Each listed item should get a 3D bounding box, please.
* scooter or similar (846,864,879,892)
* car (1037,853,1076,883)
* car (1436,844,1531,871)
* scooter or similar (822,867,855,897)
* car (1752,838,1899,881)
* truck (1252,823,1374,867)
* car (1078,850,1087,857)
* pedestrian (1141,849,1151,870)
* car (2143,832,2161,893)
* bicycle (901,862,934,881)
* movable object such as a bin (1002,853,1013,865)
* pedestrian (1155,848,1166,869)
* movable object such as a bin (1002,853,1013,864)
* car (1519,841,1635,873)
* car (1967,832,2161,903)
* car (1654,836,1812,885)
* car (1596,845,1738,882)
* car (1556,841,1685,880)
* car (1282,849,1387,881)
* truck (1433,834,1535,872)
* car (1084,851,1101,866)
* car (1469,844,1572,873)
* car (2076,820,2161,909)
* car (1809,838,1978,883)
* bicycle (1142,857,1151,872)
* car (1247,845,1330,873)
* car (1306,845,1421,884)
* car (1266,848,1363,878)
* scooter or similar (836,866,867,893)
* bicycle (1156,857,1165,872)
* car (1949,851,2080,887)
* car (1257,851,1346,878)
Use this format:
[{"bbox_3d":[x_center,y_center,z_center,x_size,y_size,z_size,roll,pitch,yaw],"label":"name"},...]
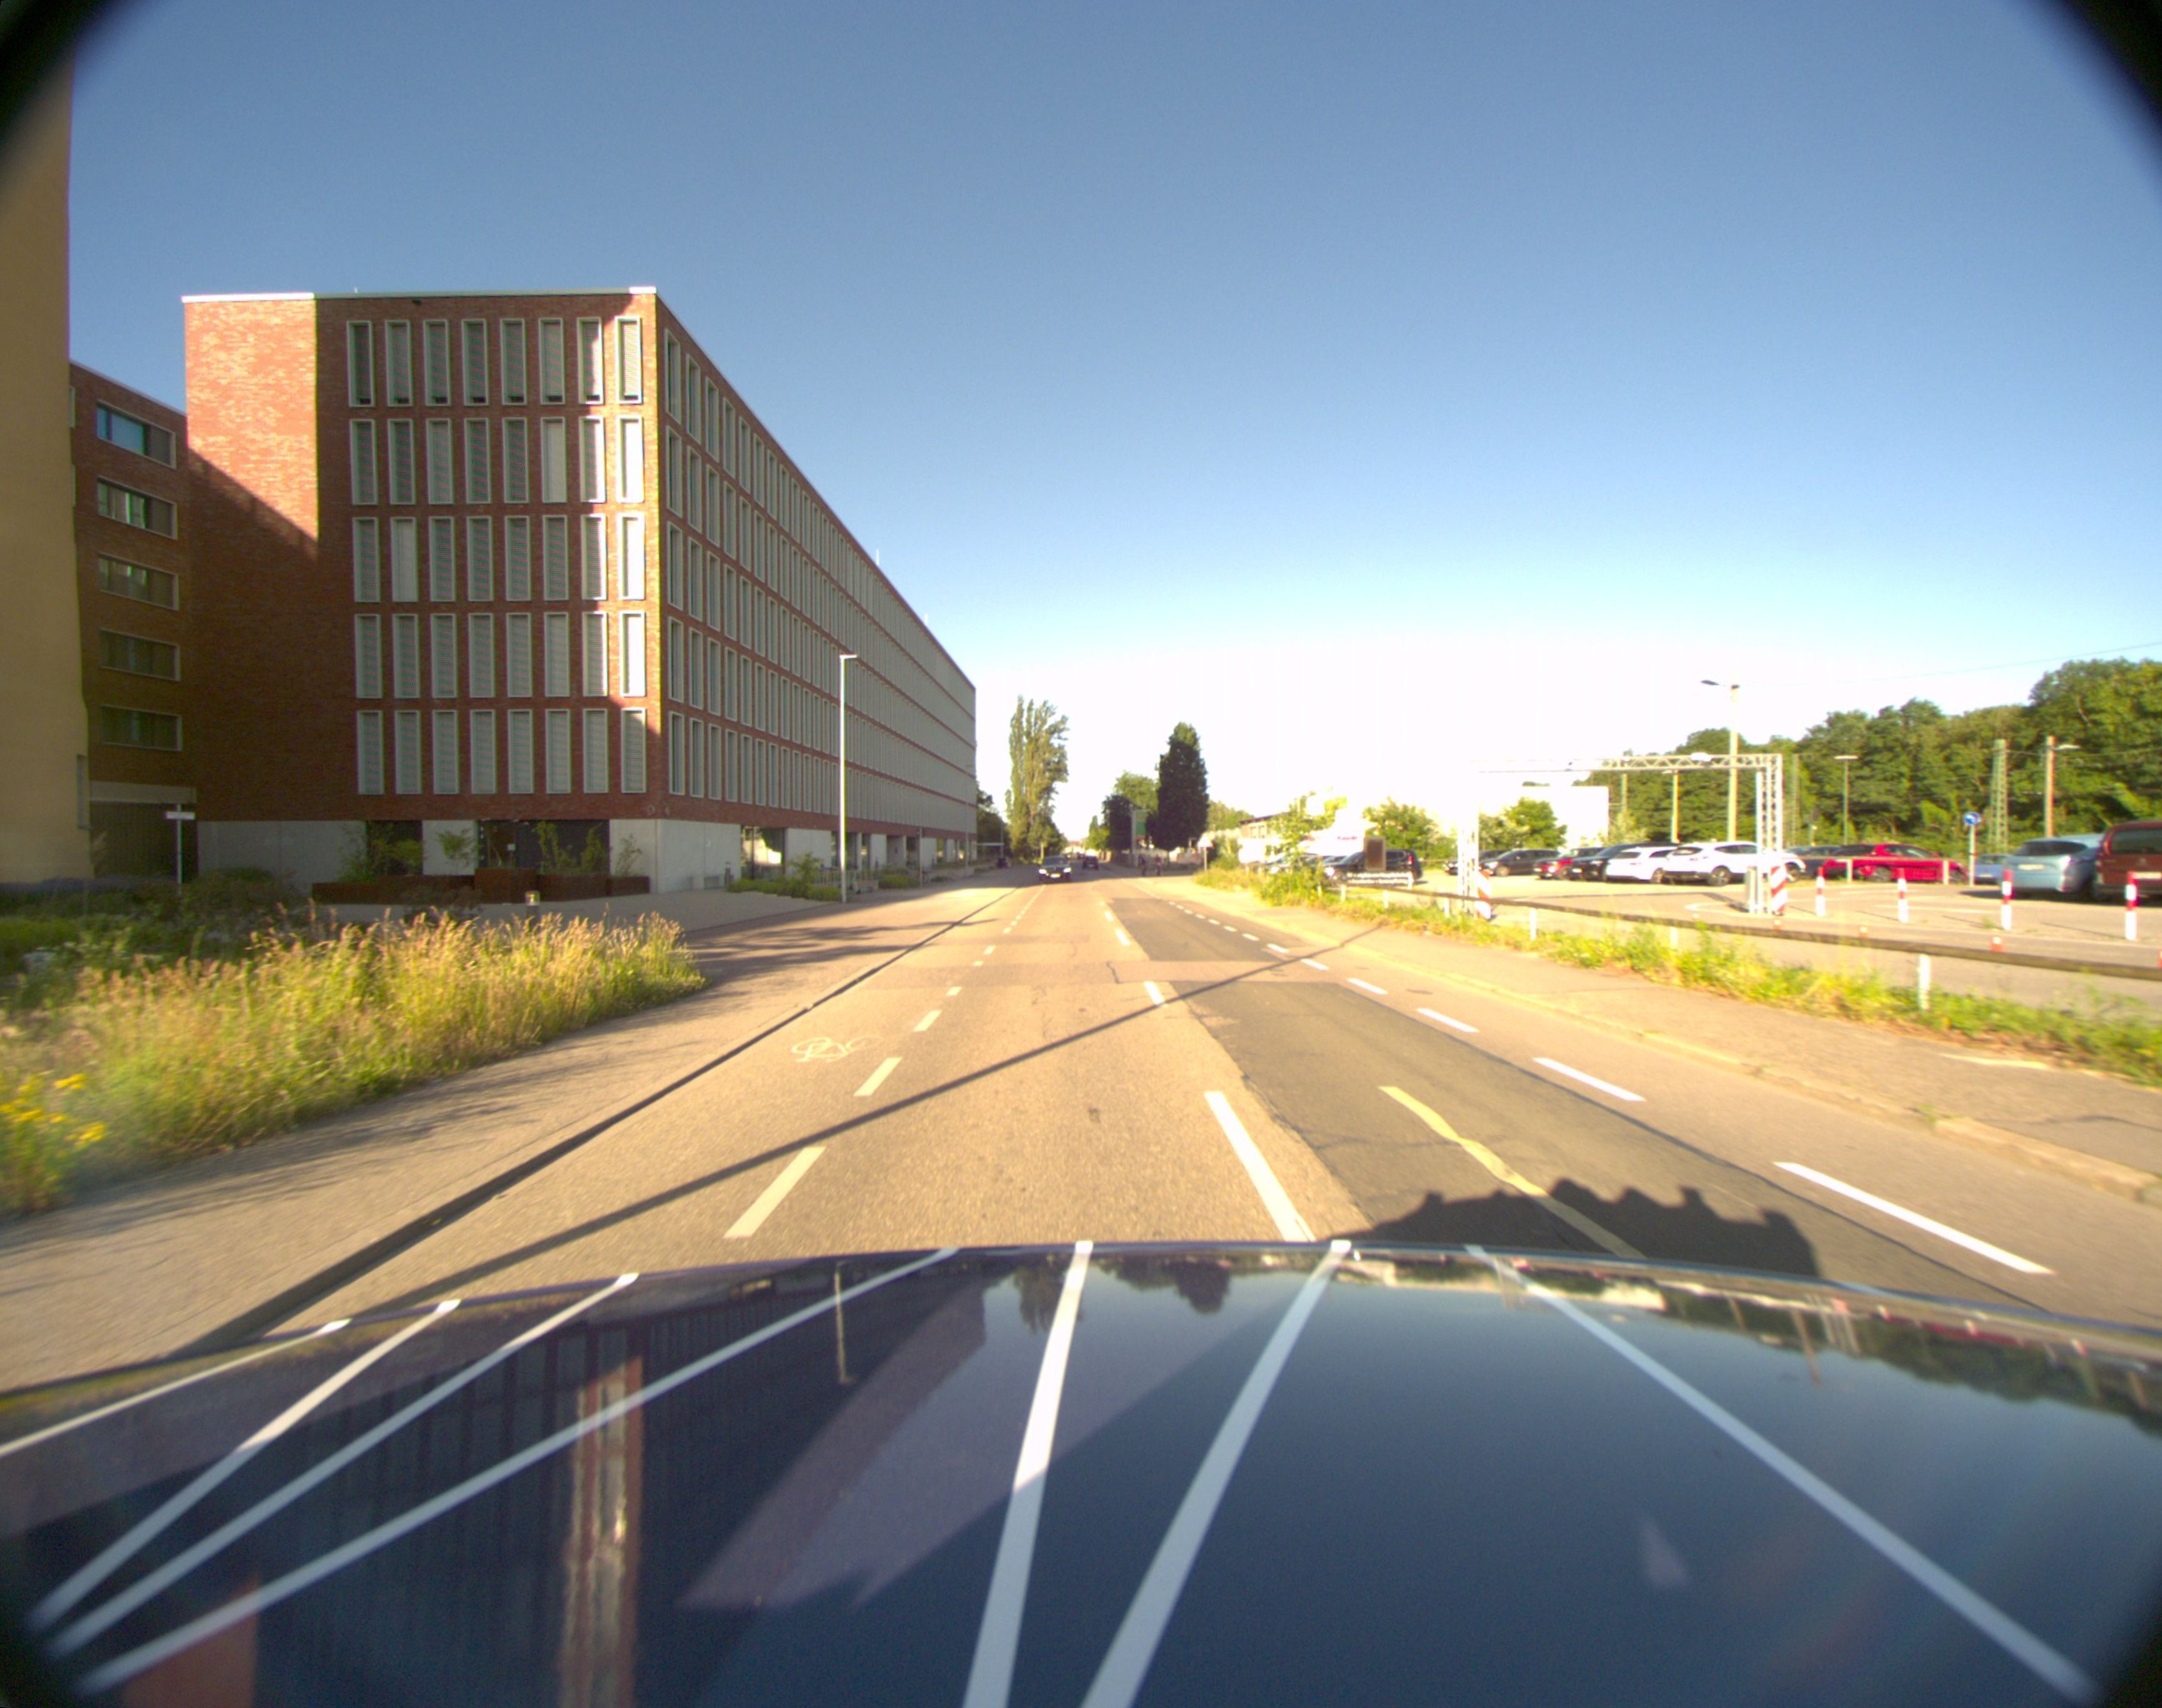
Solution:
[{"bbox_3d":[-9.888,1.081,34.415,1.343,1.238,0.424,0,1,4],"label":"scooter or similar"},{"bbox_3d":[-1.482,0.846,47.118,1.998,1.608,4.000,-4,1,3],"label":"car"},{"bbox_3d":[23.080,0.181,43.637,4.415,1.457,2.047,-1,1,-4],"label":"car"},{"bbox_3d":[-9.997,1.150,31.310,1.246,1.188,0.340,0,1,4],"label":"scooter or similar"},{"bbox_3d":[29.132,0.189,29.815,3.998,1.540,1.913,-1,0,-3],"label":"car"},{"bbox_3d":[20.731,-0.798,68.188,10.125,3.594,2.775,-1,2,-2],"label":"truck"},{"bbox_3d":[0.390,-0.110,164.258,1.745,1.517,4.110,3,0,-1],"label":"car"},{"bbox_3d":[5.242,0.434,61.051,0.722,1.711,1.057,0,1,-1],"label":"pedestrian"},{"bbox_3d":[29.311,0.169,18.473,4.378,1.536,1.857,-1,0,0],"label":"car"},{"bbox_3d":[-9.950,1.075,46.195,1.938,1.163,0.375,1,1,-7],"label":"bicycle"},{"bbox_3d":[-8.553,0.589,88.609,1.131,1.364,1.345,0,1,-2],"label":"movable object such as a bin"},{"bbox_3d":[6.325,0.359,60.548,0.722,1.711,1.057,0,1,-1],"label":"pedestrian"},{"bbox_3d":[-8.452,0.514,87.047,1.131,1.328,1.345,0,1,-2],"label":"movable object such as a bin"},{"bbox_3d":[23.236,0.128,35.682,4.172,1.389,2.047,-1,1,-4],"label":"car"},{"bbox_3d":[24.511,0.289,18.202,4.378,1.536,1.857,-1,0,0],"label":"car"},{"bbox_3d":[23.697,0.210,27.710,4.172,1.652,1.965,-1,1,-3],"label":"car"},{"bbox_3d":[23.210,0.354,30.199,4.172,1.389,2.047,-1,1,-4],"label":"car"},{"bbox_3d":[23.092,0.256,32.640,4.172,1.569,2.047,-1,1,-4],"label":"car"},{"bbox_3d":[12.358,0.519,37.253,4.439,1.453,2.048,-1,1,1],"label":"car"},{"bbox_3d":[30.164,-0.102,57.030,6.512,2.791,2.315,0,1,-2],"label":"truck"},{"bbox_3d":[1.202,0.445,81.549,1.658,1.495,3.999,0,1,0],"label":"car"},{"bbox_3d":[23.621,0.229,40.913,4.415,1.457,2.047,-1,1,-4],"label":"car"},{"bbox_3d":[23.922,0.153,15.587,4.588,1.794,1.857,-1,0,0],"label":"car"},{"bbox_3d":[29.314,0.212,27.491,4.172,1.521,1.965,-1,1,-3],"label":"car"},{"bbox_3d":[5.230,0.856,61.001,0.447,1.142,2.200,-2,1,-1],"label":"bicycle"},{"bbox_3d":[12.434,0.297,45.733,4.439,1.571,2.048,-1,1,1],"label":"car"},{"bbox_3d":[12.661,0.447,34.282,4.439,1.660,2.048,-1,1,1],"label":"car"},{"bbox_3d":[12.177,0.467,39.841,4.439,1.453,2.048,-1,1,1],"label":"car"},{"bbox_3d":[-9.912,1.116,32.851,1.246,1.149,0.366,0,1,4],"label":"scooter or similar"},{"bbox_3d":[6.329,0.820,60.585,0.471,1.142,1.869,-2,1,-1],"label":"bicycle"},{"bbox_3d":[40.434,0.633,32.971,3.617,1.473,1.726,0,1,-2],"label":"car"},{"bbox_3d":[12.449,0.565,43.085,4.439,1.453,2.048,-1,1,1],"label":"car"}]
